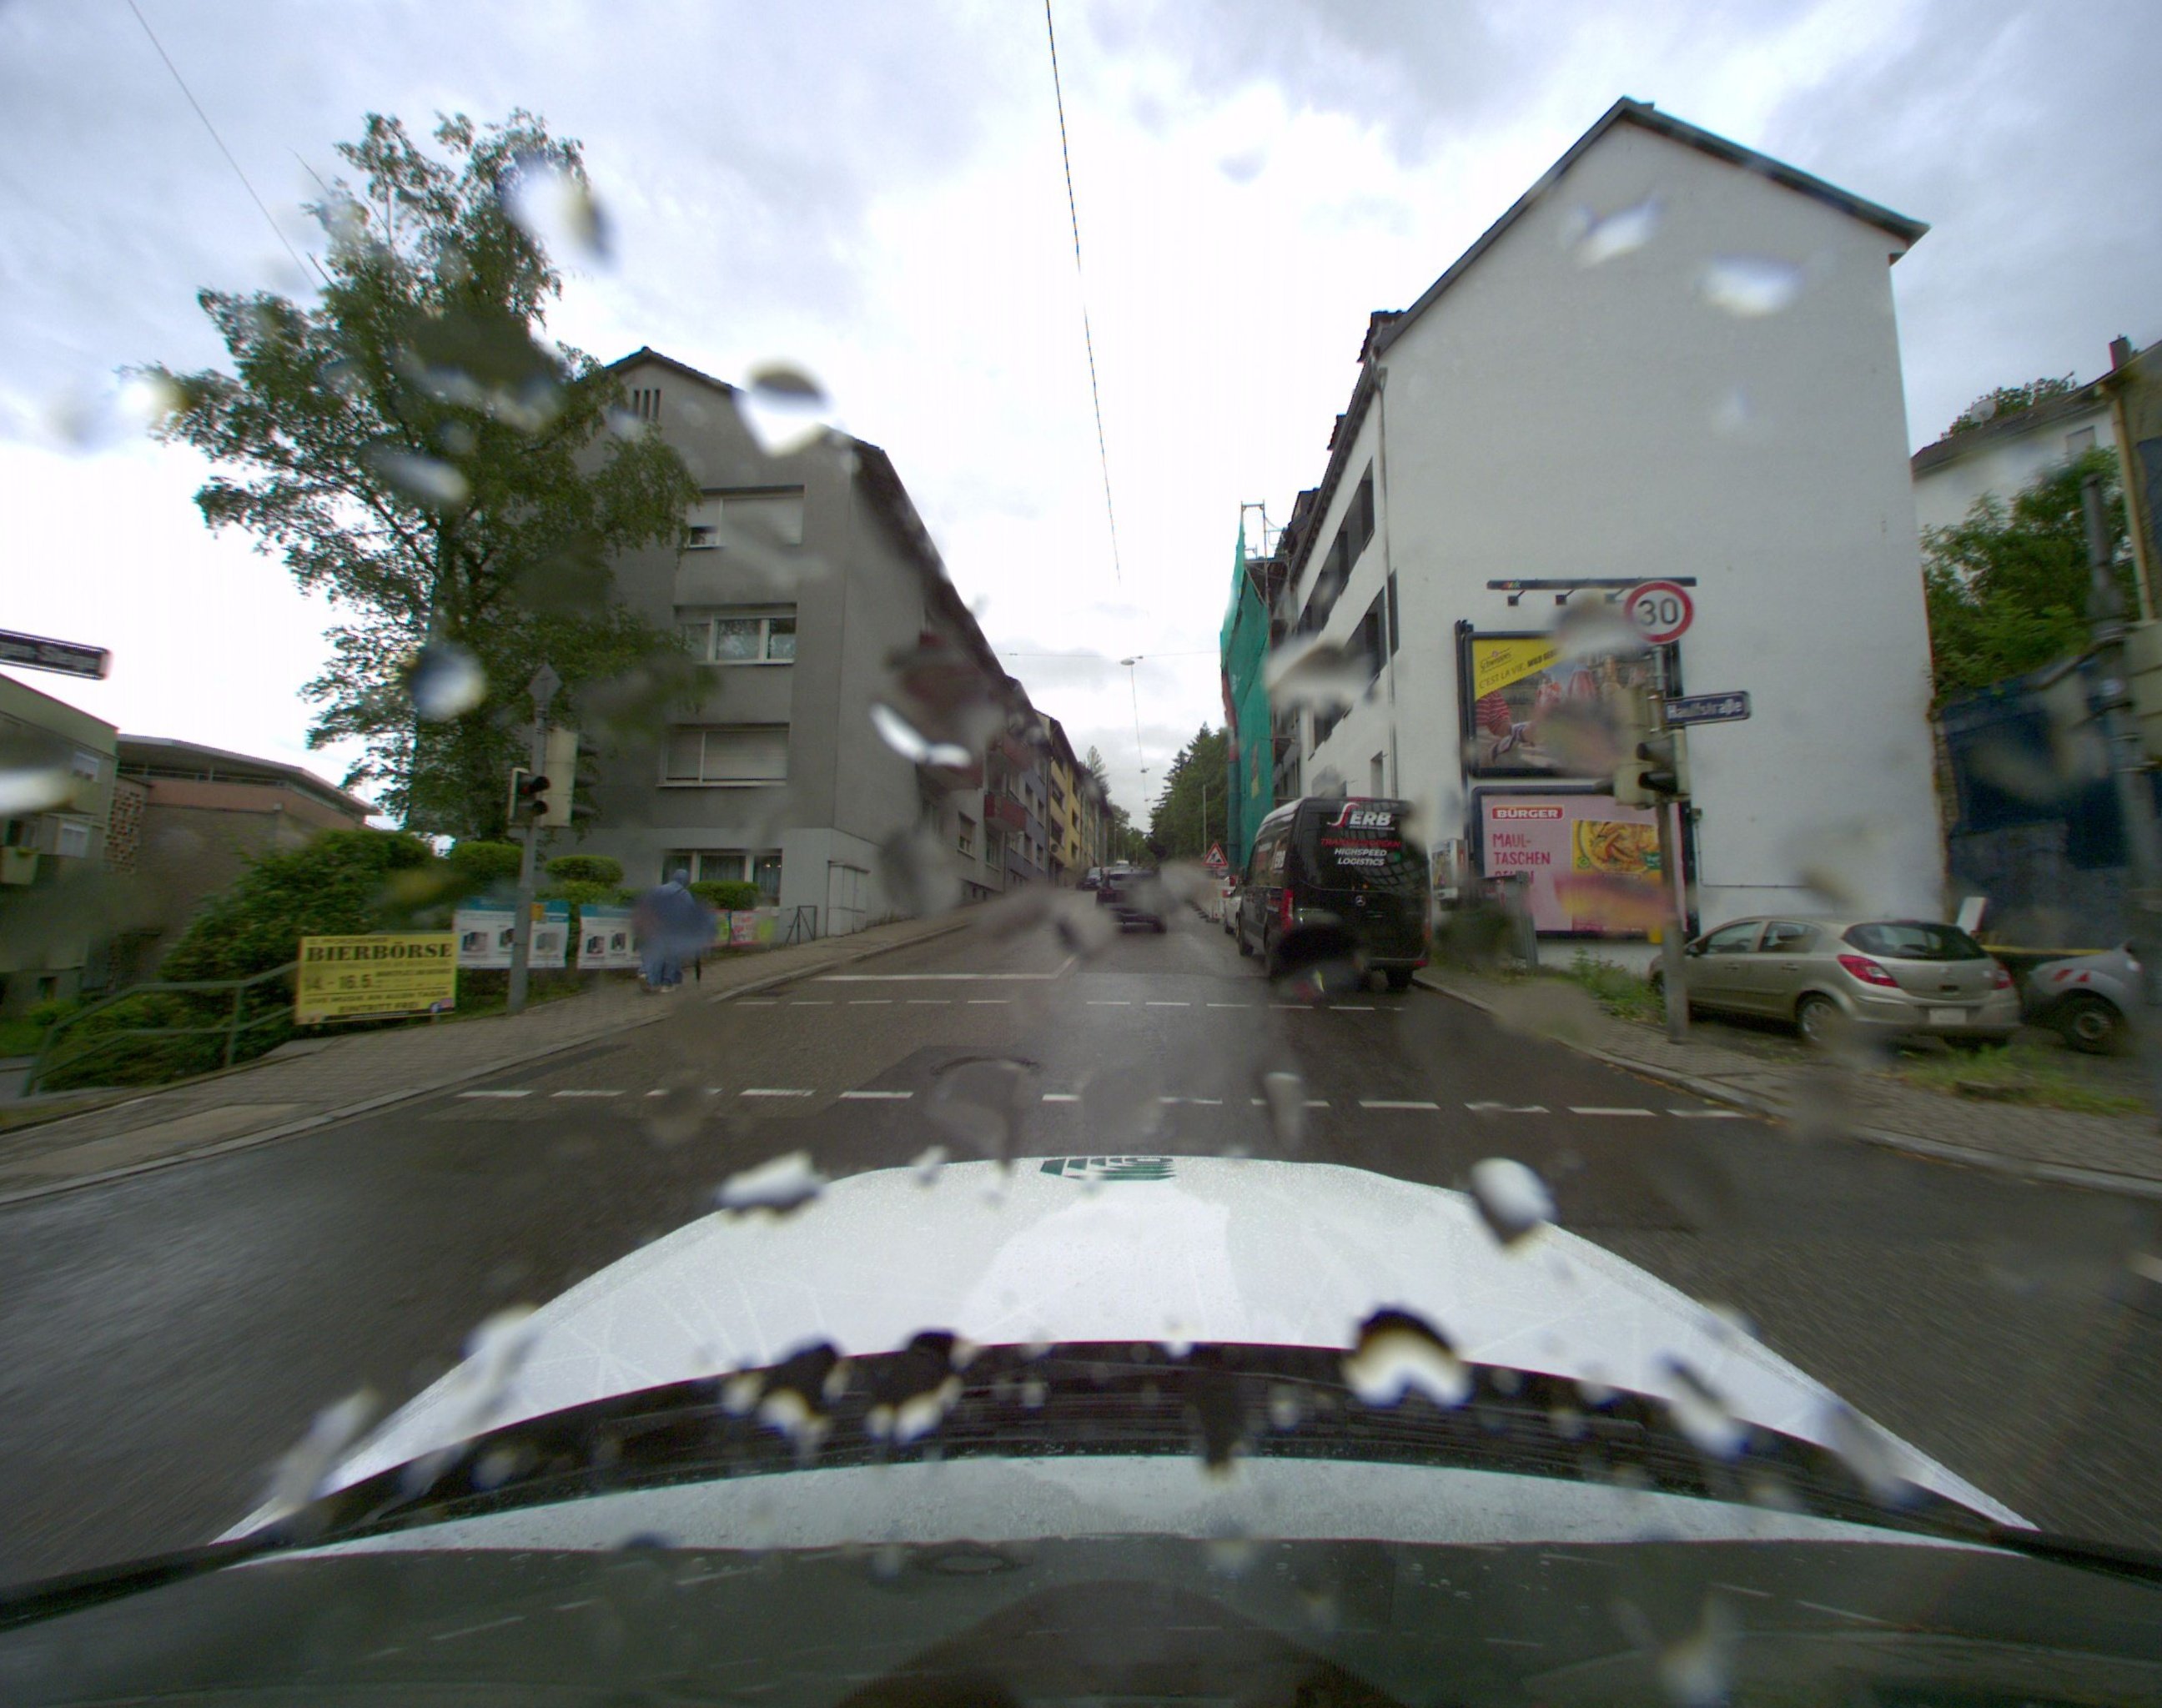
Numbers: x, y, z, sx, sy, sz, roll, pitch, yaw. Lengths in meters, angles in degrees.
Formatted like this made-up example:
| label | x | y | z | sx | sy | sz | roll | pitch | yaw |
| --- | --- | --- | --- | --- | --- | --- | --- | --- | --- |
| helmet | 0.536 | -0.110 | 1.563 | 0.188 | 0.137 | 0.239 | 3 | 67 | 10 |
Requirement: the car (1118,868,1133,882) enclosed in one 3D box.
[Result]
| label | x | y | z | sx | sy | sz | roll | pitch | yaw |
| --- | --- | --- | --- | --- | --- | --- | --- | --- | --- |
| car | 5.943 | 2.726 | 107.911 | 1.981 | 1.755 | 4.484 | 0 | -1 | 4 |

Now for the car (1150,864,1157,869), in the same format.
| label | x | y | z | sx | sy | sz | roll | pitch | yaw |
| --- | --- | --- | --- | --- | --- | --- | --- | --- | --- |
| car | 23.181 | 4.052 | 259.627 | 1.983 | 1.560 | 4.007 | -1 | -3 | 7 |

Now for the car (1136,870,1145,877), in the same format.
| label | x | y | z | sx | sy | sz | roll | pitch | yaw |
| --- | --- | --- | --- | --- | --- | --- | --- | --- | --- |
| car | 14.377 | 4.708 | 195.984 | 2.065 | 1.559 | 4.004 | 1 | -1 | 4 |

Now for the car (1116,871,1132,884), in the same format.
| label | x | y | z | sx | sy | sz | roll | pitch | yaw |
| --- | --- | --- | --- | --- | --- | --- | --- | --- | --- |
| car | 5.380 | 2.930 | 101.183 | 1.981 | 1.585 | 4.309 | 0 | -1 | 4 |

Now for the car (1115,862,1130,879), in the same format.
| label | x | y | z | sx | sy | sz | roll | pitch | yaw |
| --- | --- | --- | --- | --- | --- | --- | --- | --- | --- |
| car | 5.966 | 2.349 | 116.523 | 1.981 | 2.475 | 5.790 | 0 | -1 | 4 |

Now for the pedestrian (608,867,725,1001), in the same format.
| label | x | y | z | sx | sy | sz | roll | pitch | yaw |
| --- | --- | --- | --- | --- | --- | --- | --- | --- | --- |
| pedestrian | -5.212 | 0.965 | 10.317 | 0.866 | 1.541 | 1.088 | 2 | 1 | 2 |

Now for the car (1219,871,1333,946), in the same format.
| label | x | y | z | sx | sy | sz | roll | pitch | yaw |
| --- | --- | --- | --- | --- | --- | --- | --- | --- | --- |
| car | 4.452 | 1.208 | 19.257 | 1.984 | 1.512 | 4.342 | 2 | -2 | 5 |

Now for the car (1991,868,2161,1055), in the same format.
| label | x | y | z | sx | sy | sz | roll | pitch | yaw |
| --- | --- | --- | --- | --- | --- | --- | --- | --- | --- |
| car | 11.884 | 1.096 | 7.811 | 1.721 | 1.913 | 4.244 | 2 | -3 | 4 |

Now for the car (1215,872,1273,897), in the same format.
| label | x | y | z | sx | sy | sz | roll | pitch | yaw |
| --- | --- | --- | --- | --- | --- | --- | --- | --- | --- |
| car | 12.333 | 2.291 | 61.693 | 3.948 | 1.530 | 1.692 | -5 | -1 | 0 |

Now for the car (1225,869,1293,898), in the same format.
| label | x | y | z | sx | sy | sz | roll | pitch | yaw |
| --- | --- | --- | --- | --- | --- | --- | --- | --- | --- |
| car | 12.432 | 2.068 | 57.020 | 4.323 | 1.530 | 1.878 | -7 | -1 | 3 |

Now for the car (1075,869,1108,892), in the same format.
| label | x | y | z | sx | sy | sz | roll | pitch | yaw |
| --- | --- | --- | --- | --- | --- | --- | --- | --- | --- |
| car | 0.803 | 1.967 | 61.134 | 1.983 | 1.650 | 4.450 | 0 | -1 | 7 |

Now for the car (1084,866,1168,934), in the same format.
| label | x | y | z | sx | sy | sz | roll | pitch | yaw |
| --- | --- | --- | --- | --- | --- | --- | --- | --- | --- |
| car | 1.265 | 1.136 | 21.802 | 1.984 | 1.559 | 4.005 | 2 | 0 | 5 |

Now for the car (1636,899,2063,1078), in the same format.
| label | x | y | z | sx | sy | sz | roll | pitch | yaw |
| --- | --- | --- | --- | --- | --- | --- | --- | --- | --- |
| car | 8.802 | 1.407 | 9.890 | 1.555 | 1.484 | 4.003 | 2 | 0 | 3 |

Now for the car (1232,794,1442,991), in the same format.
| label | x | y | z | sx | sy | sz | roll | pitch | yaw |
| --- | --- | --- | --- | --- | --- | --- | --- | --- | --- |
| car | 3.760 | 0.624 | 13.157 | 1.984 | 2.414 | 5.842 | 2 | -3 | 5 |

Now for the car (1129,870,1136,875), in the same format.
| label | x | y | z | sx | sy | sz | roll | pitch | yaw |
| --- | --- | --- | --- | --- | --- | --- | --- | --- | --- |
| car | 15.798 | 5.757 | 249.832 | 2.065 | 1.559 | 4.004 | 1 | -1 | 4 |

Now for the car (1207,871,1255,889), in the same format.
| label | x | y | z | sx | sy | sz | roll | pitch | yaw |
| --- | --- | --- | --- | --- | --- | --- | --- | --- | --- |
| car | 14.099 | 2.442 | 76.611 | 4.181 | 1.496 | 1.761 | 3 | -1 | 2 |

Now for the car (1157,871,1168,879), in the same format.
| label | x | y | z | sx | sy | sz | roll | pitch | yaw |
| --- | --- | --- | --- | --- | --- | --- | --- | --- | --- |
| car | 17.413 | 4.519 | 174.538 | 2.067 | 1.559 | 4.001 | 1 | -1 | 2 |

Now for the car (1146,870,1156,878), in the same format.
| label | x | y | z | sx | sy | sz | roll | pitch | yaw |
| --- | --- | --- | --- | --- | --- | --- | --- | --- | --- |
| car | 14.320 | 4.106 | 166.414 | 2.065 | 1.559 | 4.003 | 1 | -1 | 3 |

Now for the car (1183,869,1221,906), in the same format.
| label | x | y | z | sx | sy | sz | roll | pitch | yaw |
| --- | --- | --- | --- | --- | --- | --- | --- | --- | --- |
| car | 6.420 | 1.760 | 43.497 | 1.633 | 1.762 | 4.004 | 2 | 0 | 4 |
